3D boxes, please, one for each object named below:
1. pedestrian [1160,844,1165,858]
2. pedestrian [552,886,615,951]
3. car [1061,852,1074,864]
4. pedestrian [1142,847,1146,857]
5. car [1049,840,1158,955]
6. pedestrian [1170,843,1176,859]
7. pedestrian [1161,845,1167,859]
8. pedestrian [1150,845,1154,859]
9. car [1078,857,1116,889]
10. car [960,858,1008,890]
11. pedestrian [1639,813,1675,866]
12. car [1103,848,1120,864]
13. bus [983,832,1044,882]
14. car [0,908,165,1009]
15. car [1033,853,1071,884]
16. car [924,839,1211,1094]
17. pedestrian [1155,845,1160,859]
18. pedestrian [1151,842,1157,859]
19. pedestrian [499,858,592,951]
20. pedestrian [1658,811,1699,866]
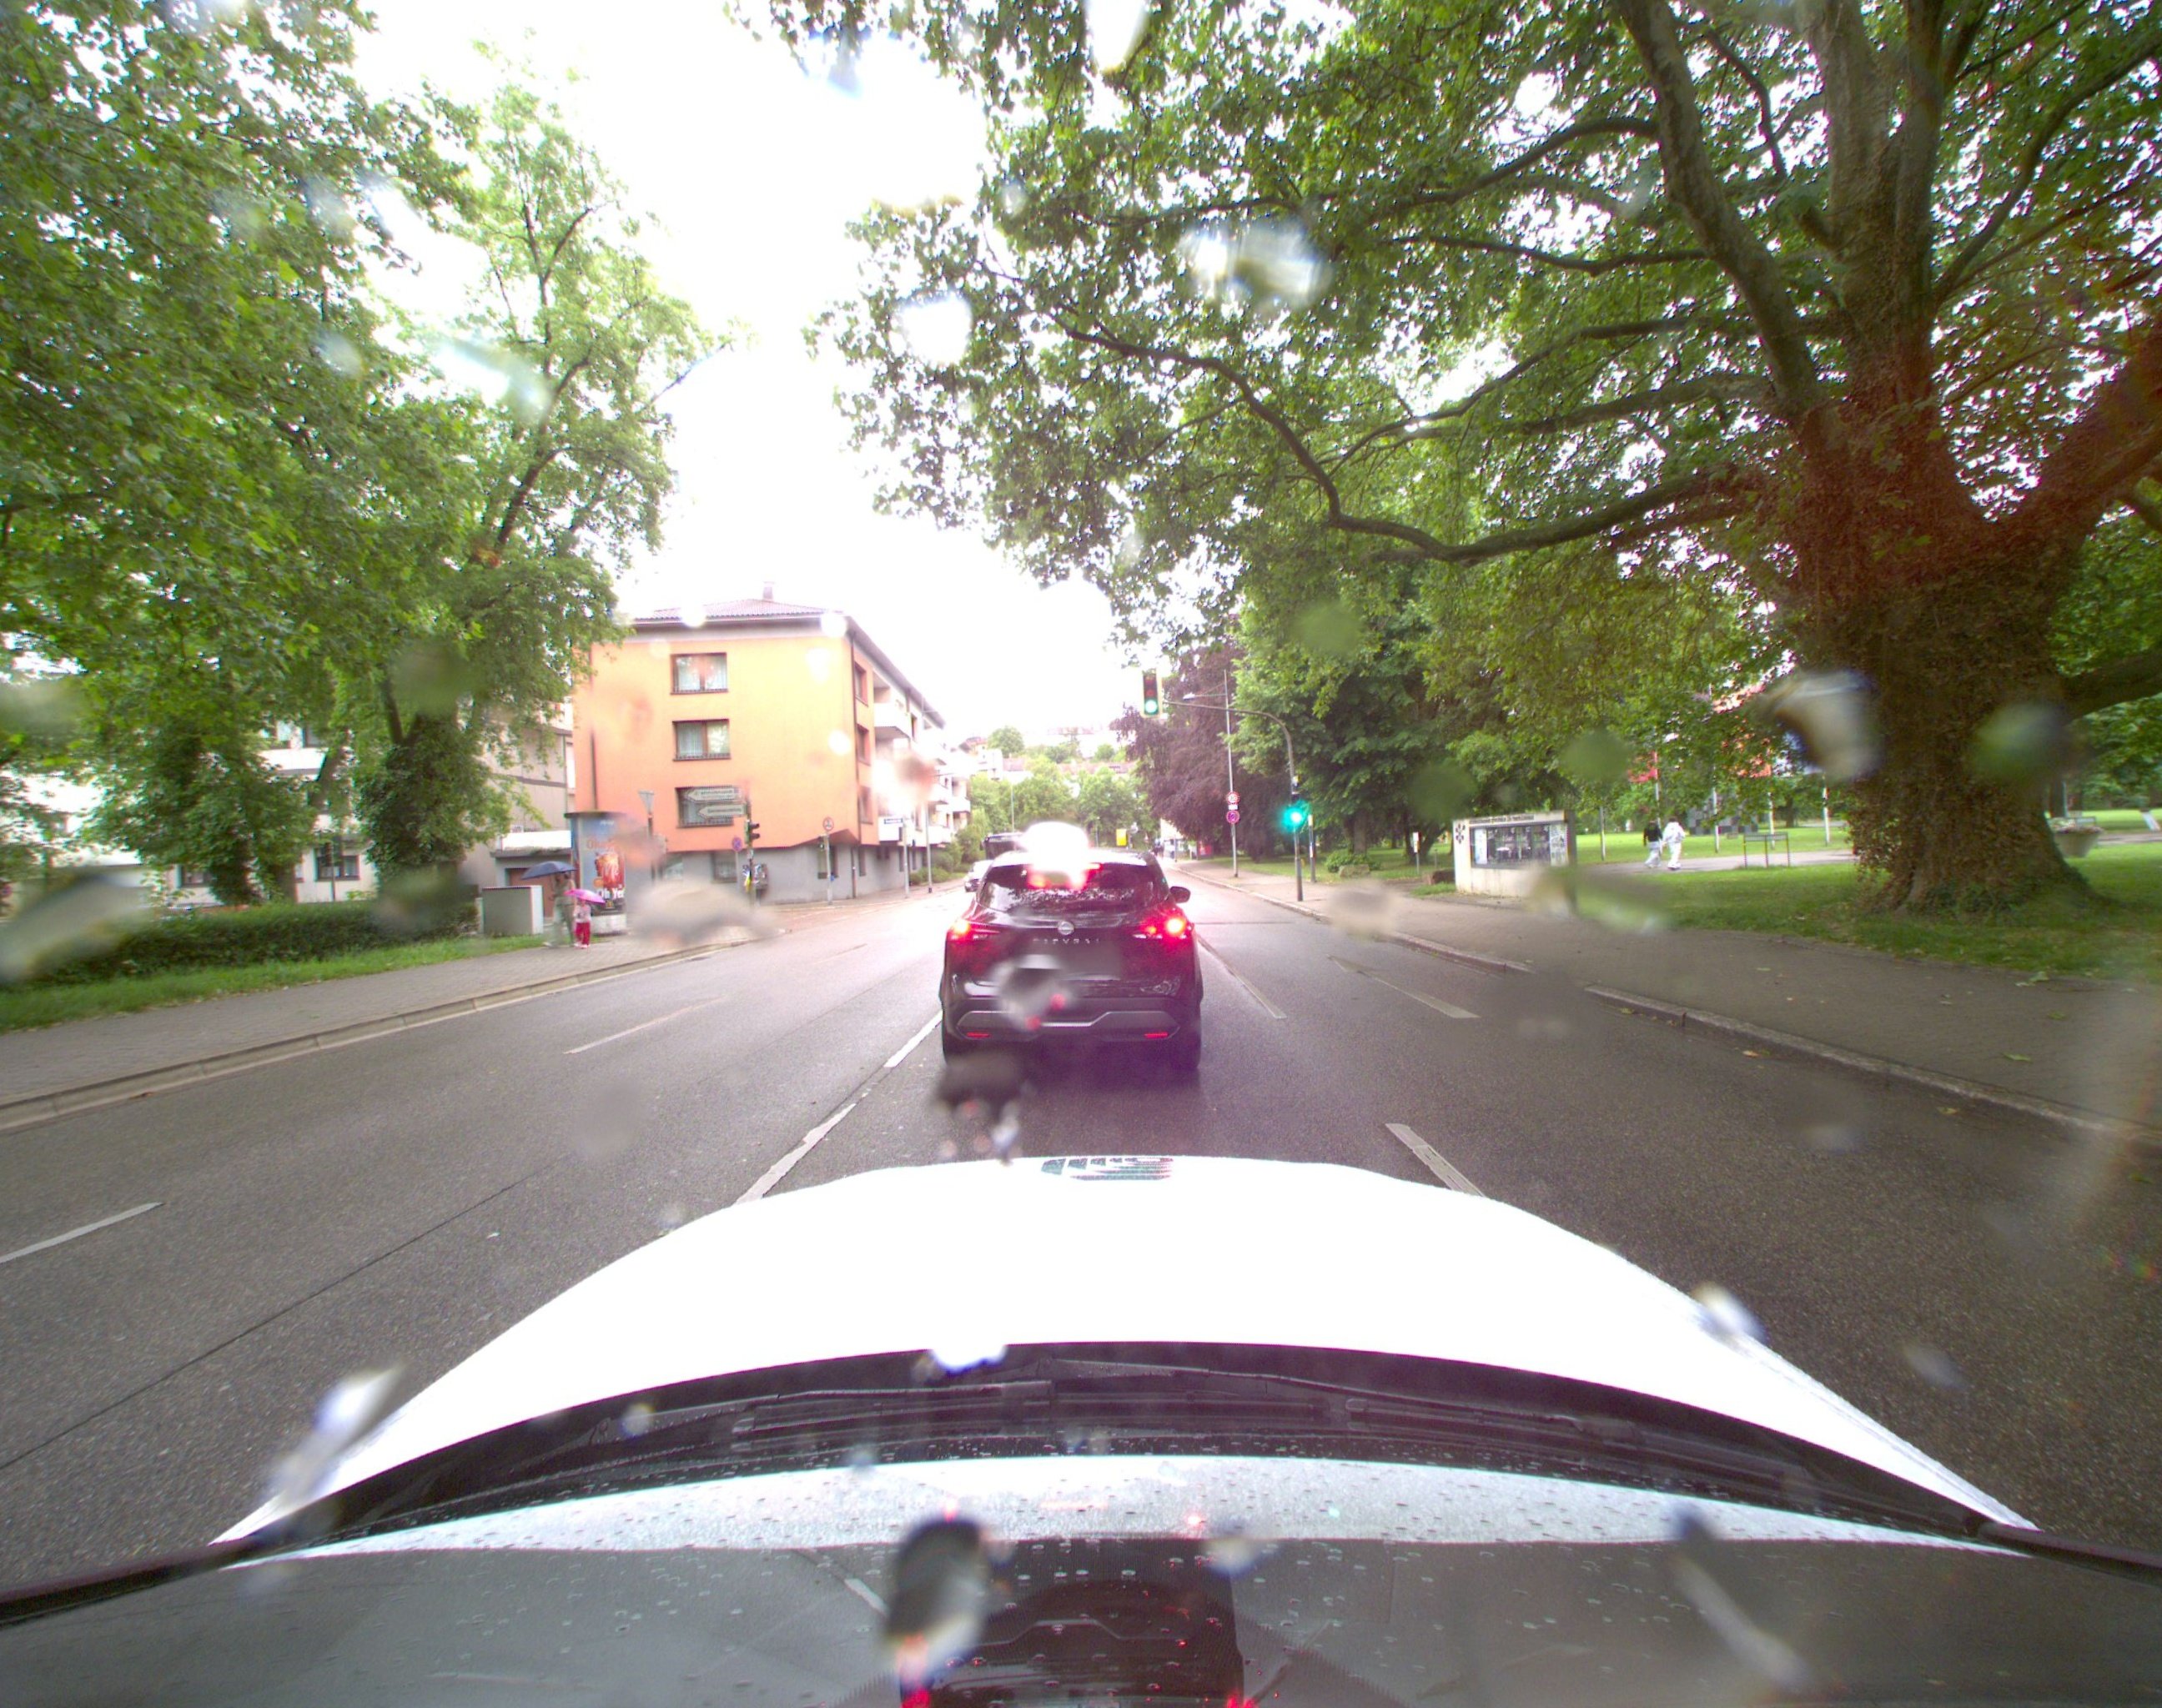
[{"bbox_3d":[9.694,-0.312,96.502,0.513,1.655,0.550,0,-1,1],"label":"pedestrian"},{"bbox_3d":[-9.507,1.218,15.593,0.681,1.175,0.827,-1,0,1],"label":"pedestrian"},{"bbox_3d":[-1.990,0.616,122.129,1.743,1.633,3.636,-3,0,2],"label":"car"},{"bbox_3d":[13.350,-0.386,173.887,0.696,2.013,0.583,-3,0,1],"label":"pedestrian"},{"bbox_3d":[0.472,0.680,14.715,1.615,1.709,3.774,-3,0,3],"label":"car"},{"bbox_3d":[10.891,-0.359,96.305,0.616,1.779,0.779,-3,0,1],"label":"pedestrian"},{"bbox_3d":[10.033,-0.271,98.274,0.696,1.651,0.628,0,-1,2],"label":"pedestrian"},{"bbox_3d":[8.608,-0.261,98.239,0.473,1.651,0.490,0,-1,2],"label":"pedestrian"},{"bbox_3d":[0.784,0.922,41.202,1.802,1.417,4.031,-2,0,1],"label":"car"},{"bbox_3d":[-4.841,0.971,41.279,1.802,1.417,4.031,-4,0,1],"label":"car"},{"bbox_3d":[19.208,-0.479,27.160,0.663,1.756,0.722,0,-1,-7],"label":"pedestrian"},{"bbox_3d":[3.157,0.195,83.269,1.618,1.415,3.456,-3,0,2],"label":"car"},{"bbox_3d":[-4.412,0.185,55.896,2.756,2.974,11.786,-3,0,2],"label":"bus"},{"bbox_3d":[-18.012,1.739,13.804,3.182,1.524,1.507,0,-1,-1],"label":"car"},{"bbox_3d":[-1.454,0.725,42.384,1.618,1.415,3.456,-3,0,2],"label":"car"},{"bbox_3d":[-0.026,0.724,7.127,1.799,1.590,4.001,0,-1,2],"label":"car"},{"bbox_3d":[9.232,-0.264,98.440,0.542,1.651,0.490,0,-1,2],"label":"pedestrian"},{"bbox_3d":[9.743,-0.450,108.978,0.764,2.183,0.712,0,-1,5],"label":"pedestrian"},{"bbox_3d":[-10.448,0.949,15.953,0.988,1.742,1.210,-1,0,1],"label":"pedestrian"},{"bbox_3d":[18.938,-0.488,25.823,0.663,1.712,0.788,0,-1,-7],"label":"pedestrian"}]
